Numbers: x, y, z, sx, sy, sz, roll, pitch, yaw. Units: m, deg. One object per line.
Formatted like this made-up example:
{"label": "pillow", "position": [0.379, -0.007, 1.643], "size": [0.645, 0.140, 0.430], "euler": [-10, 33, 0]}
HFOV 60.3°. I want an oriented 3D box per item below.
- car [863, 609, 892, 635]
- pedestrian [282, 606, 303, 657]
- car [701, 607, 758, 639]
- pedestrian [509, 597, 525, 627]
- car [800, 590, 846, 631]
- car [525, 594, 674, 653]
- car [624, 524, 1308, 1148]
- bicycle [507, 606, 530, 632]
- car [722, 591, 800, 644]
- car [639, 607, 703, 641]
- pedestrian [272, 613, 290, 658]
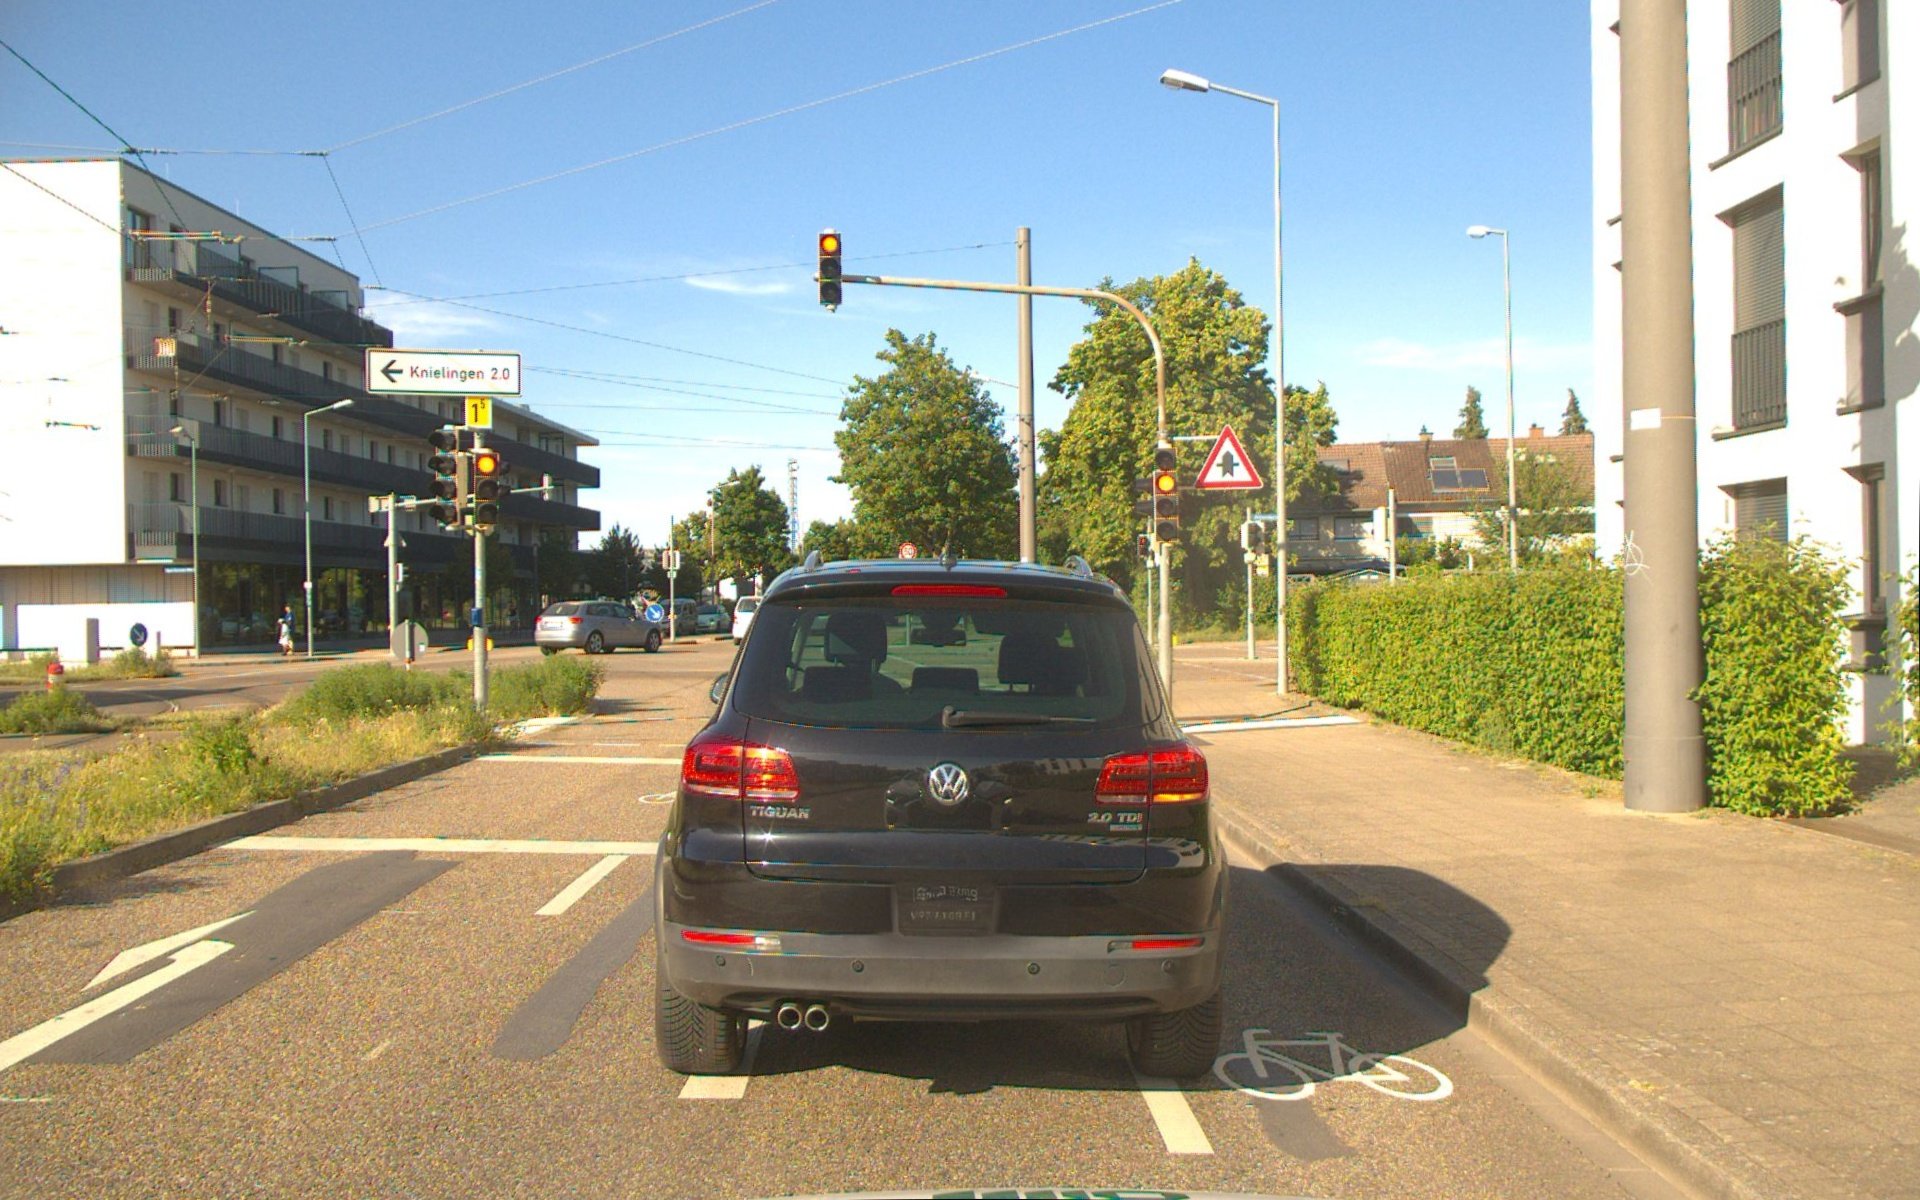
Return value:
{"label": "car", "position": [-5.735, 1.536, 115.322], "size": [1.953, 1.713, 3.998], "euler": [1, 0, -2]}
{"label": "pedestrian", "position": [-23.419, 1.104, 58.030], "size": [0.532, 1.774, 0.517], "euler": [1, -1, -6]}
{"label": "car", "position": [-12.205, 1.191, 87.925], "size": [1.951, 1.601, 4.342], "euler": [1, 0, 7]}
{"label": "pedestrian", "position": [-23.246, 0.629, 86.765], "size": [0.629, 1.535, 0.596], "euler": [1, -1, 1]}
{"label": "car", "position": [-6.551, 0.493, 79.484], "size": [1.953, 1.869, 3.999], "euler": [1, 0, -1]}
{"label": "car", "position": [-9.880, 0.629, 45.603], "size": [1.827, 1.511, 4.106], "euler": [-1, 0, 26]}
{"label": "car", "position": [-0.006, 0.651, 6.481], "size": [1.831, 1.666, 3.999], "euler": [1, 0, -1]}
{"label": "bicycle", "position": [-23.244, 0.993, 87.116], "size": [0.617, 1.355, 1.913], "euler": [1, 0, 1]}
{"label": "car", "position": [-6.869, 0.587, 57.409], "size": [1.824, 1.750, 3.690], "euler": [-1, 0, 7]}
{"label": "car", "position": [-14.142, 1.167, 81.157], "size": [1.951, 1.601, 4.342], "euler": [1, 0, 7]}
{"label": "pedestrian", "position": [-23.601, 1.232, 57.474], "size": [0.433, 1.529, 0.517], "euler": [1, -1, -6]}
